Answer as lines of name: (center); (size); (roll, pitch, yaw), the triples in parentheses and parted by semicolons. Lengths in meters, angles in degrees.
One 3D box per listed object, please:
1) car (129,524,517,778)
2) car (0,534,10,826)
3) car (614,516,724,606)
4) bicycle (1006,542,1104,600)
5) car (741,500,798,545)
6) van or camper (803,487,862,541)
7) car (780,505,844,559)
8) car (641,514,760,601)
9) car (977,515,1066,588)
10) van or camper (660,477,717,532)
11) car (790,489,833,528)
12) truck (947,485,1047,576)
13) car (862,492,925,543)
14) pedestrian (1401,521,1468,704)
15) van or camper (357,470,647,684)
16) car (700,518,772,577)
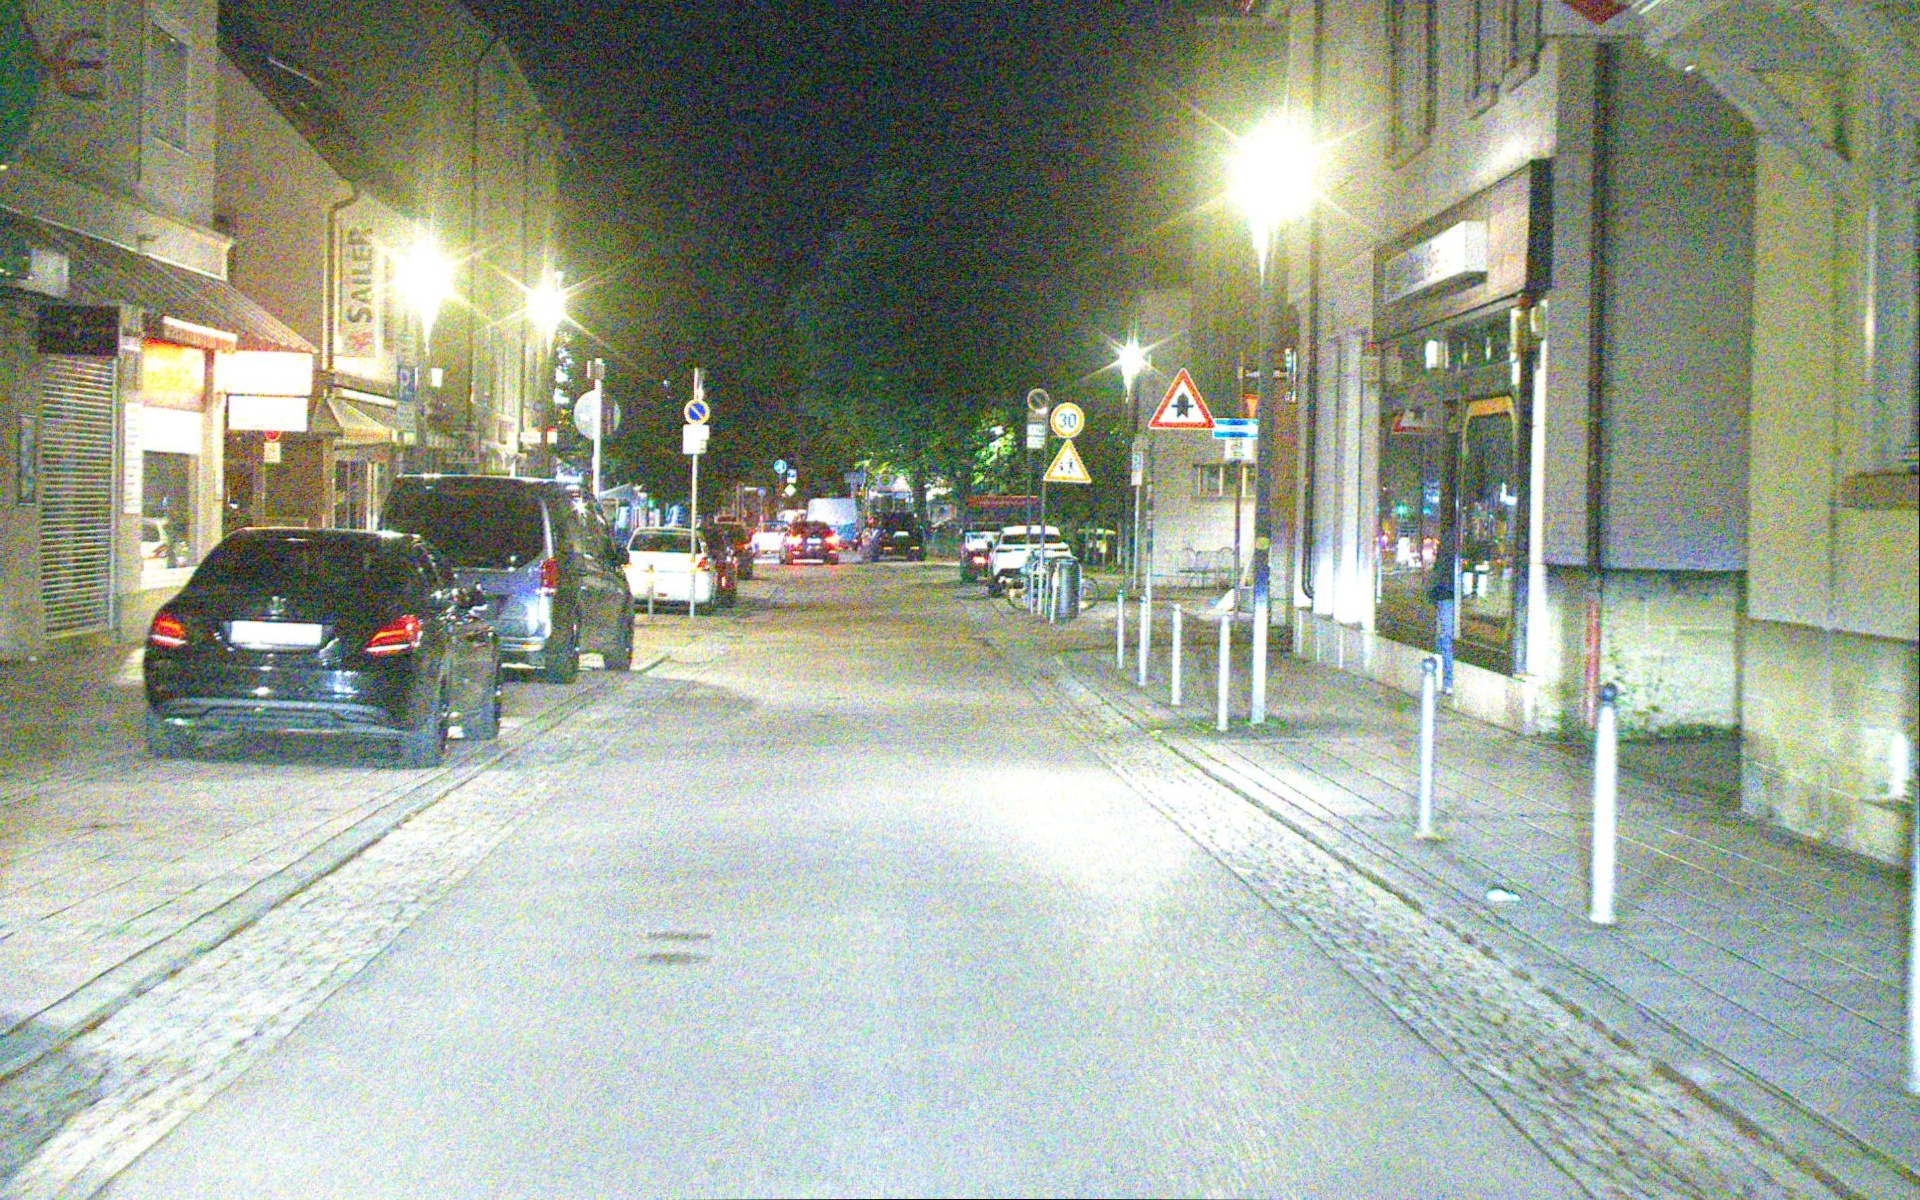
car: (-3.998, 0.253, 22.255); (1.716, 1.408, 4.386); (2, 1, -1)
car: (-3.673, 0.550, 8.061); (1.797, 1.473, 4.322); (2, 1, -2)
car: (-5.090, -0.703, 60.534); (1.728, 1.471, 3.847); (1, 2, -2)
bicycle: (1.737, -0.528, 62.742); (1.754, 1.058, 0.346); (0, 1, -4)
car: (-7.450, -3.019, 133.956); (1.993, 1.697, 4.001); (0, 2, -6)
van or camper: (-5.635, -3.785, 151.259); (2.108, 2.309, 4.263); (-1, 2, -8)
car: (-5.176, -2.379, 119.460); (1.993, 1.817, 4.001); (0, 2, -6)
car: (-4.933, -0.847, 65.937); (2.019, 1.483, 5.008); (3, 2, -2)
car: (1.310, -1.073, 74.464); (1.789, 1.486, 4.059); (-1, 2, -1)
van or camper: (-10.438, -3.655, 131.915); (1.866, 2.004, 4.263); (2, 1, -8)
car: (-7.379, -4.544, 170.158); (1.839, 1.894, 3.846); (0, 2, -7)
truck: (0.931, -1.848, 89.847); (2.336, 2.304, 5.781); (0, 2, -2)
car: (-2.432, -3.018, 125.028); (1.814, 1.822, 4.348); (0, 2, -8)
pedestrian: (4.052, 0.102, 29.358); (0.501, 1.542, 0.480); (2, 1, 5)
van or camper: (-4.474, -0.278, 34.359); (1.846, 1.935, 5.153); (1, 1, 4)
car: (-6.163, -1.455, 94.070); (1.673, 1.538, 4.232); (1, 2, -7)
